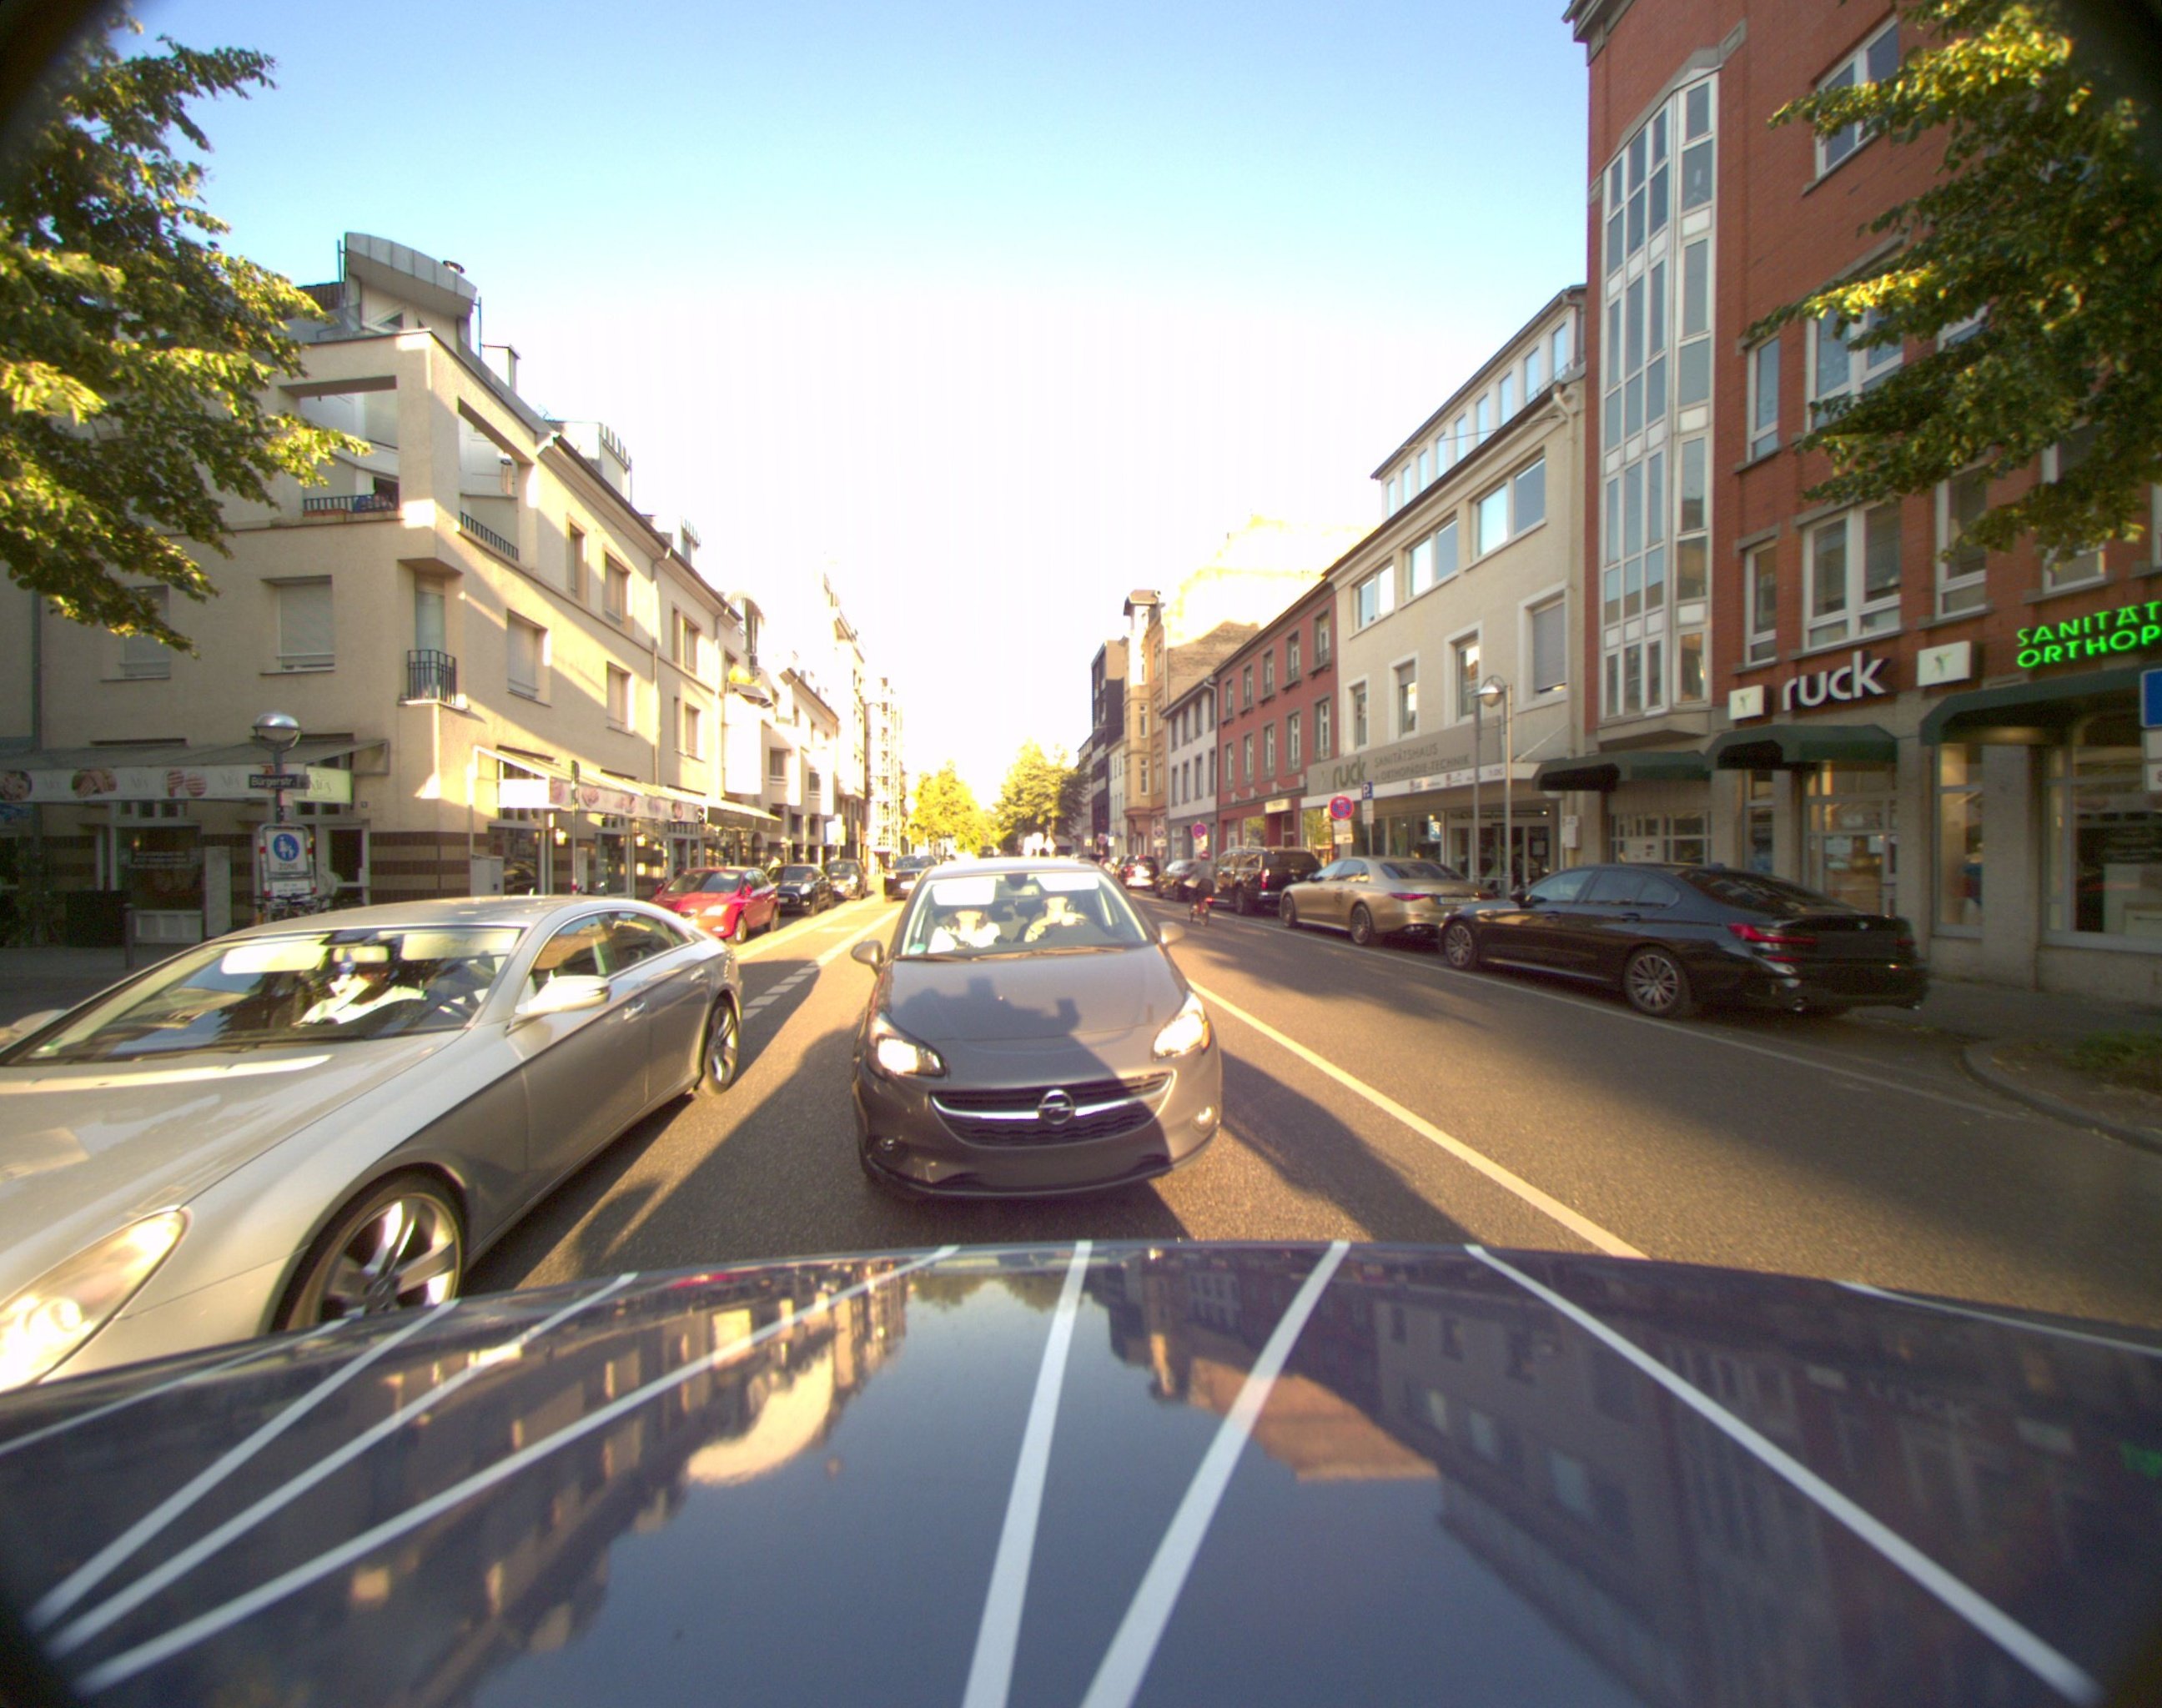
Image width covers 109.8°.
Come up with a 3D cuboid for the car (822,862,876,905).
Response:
[{"bbox_3d":[-8.857,1.085,29.215,1.432,1.443,3.378,-1,0,-8],"label":"car"}]

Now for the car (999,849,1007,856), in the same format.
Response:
[{"bbox_3d":[-20.523,-0.487,199.535,1.846,1.796,3.582,-2,1,-2],"label":"car"}]

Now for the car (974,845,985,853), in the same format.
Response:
[{"bbox_3d":[-19.421,-0.892,145.493,1.616,1.463,3.224,-2,1,-2],"label":"car"}]

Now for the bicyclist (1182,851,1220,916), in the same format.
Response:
[{"bbox_3d":[2.509,0.608,15.941,0.569,1.295,0.660,-2,2,-9],"label":"bicyclist"}]

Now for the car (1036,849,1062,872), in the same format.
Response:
[{"bbox_3d":[-2.629,0.483,61.550,1.766,1.762,3.869,0,0,-7],"label":"car"}]

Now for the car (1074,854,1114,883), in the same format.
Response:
[{"bbox_3d":[0.706,0.819,44.012,1.792,1.504,3.775,-1,1,-8],"label":"car"}]

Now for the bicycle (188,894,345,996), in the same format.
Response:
[{"bbox_3d":[-11.077,1.185,10.434,0.332,1.123,2.010,-1,1,-11],"label":"bicycle"}]

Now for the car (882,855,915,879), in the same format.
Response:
[{"bbox_3d":[-12.324,0.838,51.578,1.766,1.563,3.869,0,0,-7],"label":"car"}]

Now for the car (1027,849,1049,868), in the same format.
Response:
[{"bbox_3d":[-4.136,0.429,72.309,1.766,1.762,3.869,0,0,-7],"label":"car"}]

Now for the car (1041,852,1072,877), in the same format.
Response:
[{"bbox_3d":[-1.815,0.749,55.010,1.796,1.606,3.969,-2,1,-7],"label":"car"}]

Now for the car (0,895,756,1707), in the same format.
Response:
[{"bbox_3d":[-3.020,1.042,3.160,1.791,1.361,4.569,-2,1,-7],"label":"car"}]

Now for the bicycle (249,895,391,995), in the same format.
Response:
[{"bbox_3d":[-10.474,1.198,10.554,0.332,1.123,2.010,0,1,-11],"label":"bicycle"}]

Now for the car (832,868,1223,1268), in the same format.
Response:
[{"bbox_3d":[-0.528,0.882,5.014,1.588,1.445,3.838,-1,1,-11],"label":"car"}]

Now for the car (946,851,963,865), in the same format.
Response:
[{"bbox_3d":[-15.067,0.461,90.517,1.766,1.623,3.869,0,0,-7],"label":"car"}]

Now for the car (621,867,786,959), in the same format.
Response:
[{"bbox_3d":[-7.218,1.044,14.985,1.654,1.420,3.997,-2,0,-8],"label":"car"}]

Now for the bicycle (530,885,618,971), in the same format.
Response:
[{"bbox_3d":[-8.267,1.167,12.472,0.505,1.230,1.711,0,1,-8],"label":"bicycle"}]

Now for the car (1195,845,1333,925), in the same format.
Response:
[{"bbox_3d":[4.732,0.745,20.549,1.974,1.873,4.944,-1,0,-8],"label":"car"}]

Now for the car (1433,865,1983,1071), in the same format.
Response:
[{"bbox_3d":[5.891,0.896,8.042,1.805,1.385,4.413,-1,1,-9],"label":"car"}]

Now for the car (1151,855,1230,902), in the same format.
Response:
[{"bbox_3d":[3.733,0.794,26.582,1.737,1.516,3.839,0,0,-8],"label":"car"}]

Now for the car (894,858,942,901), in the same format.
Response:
[{"bbox_3d":[-6.700,0.998,31.516,1.692,1.534,3.728,-2,1,-9],"label":"car"}]

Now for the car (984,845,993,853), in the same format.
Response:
[{"bbox_3d":[-19.517,-1.064,160.603,1.673,1.630,3.253,-2,1,-7],"label":"car"}]

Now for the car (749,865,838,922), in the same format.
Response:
[{"bbox_3d":[-8.192,1.069,21.950,1.615,1.386,3.692,-2,1,-9],"label":"car"}]

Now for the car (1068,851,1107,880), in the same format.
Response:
[{"bbox_3d":[0.367,0.672,48.214,1.882,1.667,4.033,-2,1,-8],"label":"car"}]

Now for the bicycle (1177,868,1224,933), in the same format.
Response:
[{"bbox_3d":[2.498,0.941,16.014,0.421,1.230,1.692,-2,1,-10],"label":"bicycle"}]

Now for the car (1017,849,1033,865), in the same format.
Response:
[{"bbox_3d":[-6.672,0.347,90.259,1.766,1.762,3.869,0,0,-7],"label":"car"}]

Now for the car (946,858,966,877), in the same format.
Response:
[{"bbox_3d":[-11.803,1.255,72.125,1.693,1.644,3.731,-2,1,-8],"label":"car"}]

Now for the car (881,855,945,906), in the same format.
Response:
[{"bbox_3d":[-5.949,0.889,27.305,1.897,1.633,3.746,-1,1,-8],"label":"car"}]

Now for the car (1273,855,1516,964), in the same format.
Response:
[{"bbox_3d":[5.266,0.818,13.680,1.896,1.590,4.941,0,0,-6],"label":"car"}]

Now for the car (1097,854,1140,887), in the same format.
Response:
[{"bbox_3d":[1.934,0.857,40.249,1.686,1.581,3.513,-1,1,-7],"label":"car"}]

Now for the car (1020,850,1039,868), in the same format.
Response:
[{"bbox_3d":[-5.542,0.511,80.874,1.788,1.762,3.869,0,0,-7],"label":"car"}]

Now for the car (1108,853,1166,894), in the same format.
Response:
[{"bbox_3d":[2.513,0.852,35.123,1.877,1.718,4.137,-1,1,-8],"label":"car"}]
